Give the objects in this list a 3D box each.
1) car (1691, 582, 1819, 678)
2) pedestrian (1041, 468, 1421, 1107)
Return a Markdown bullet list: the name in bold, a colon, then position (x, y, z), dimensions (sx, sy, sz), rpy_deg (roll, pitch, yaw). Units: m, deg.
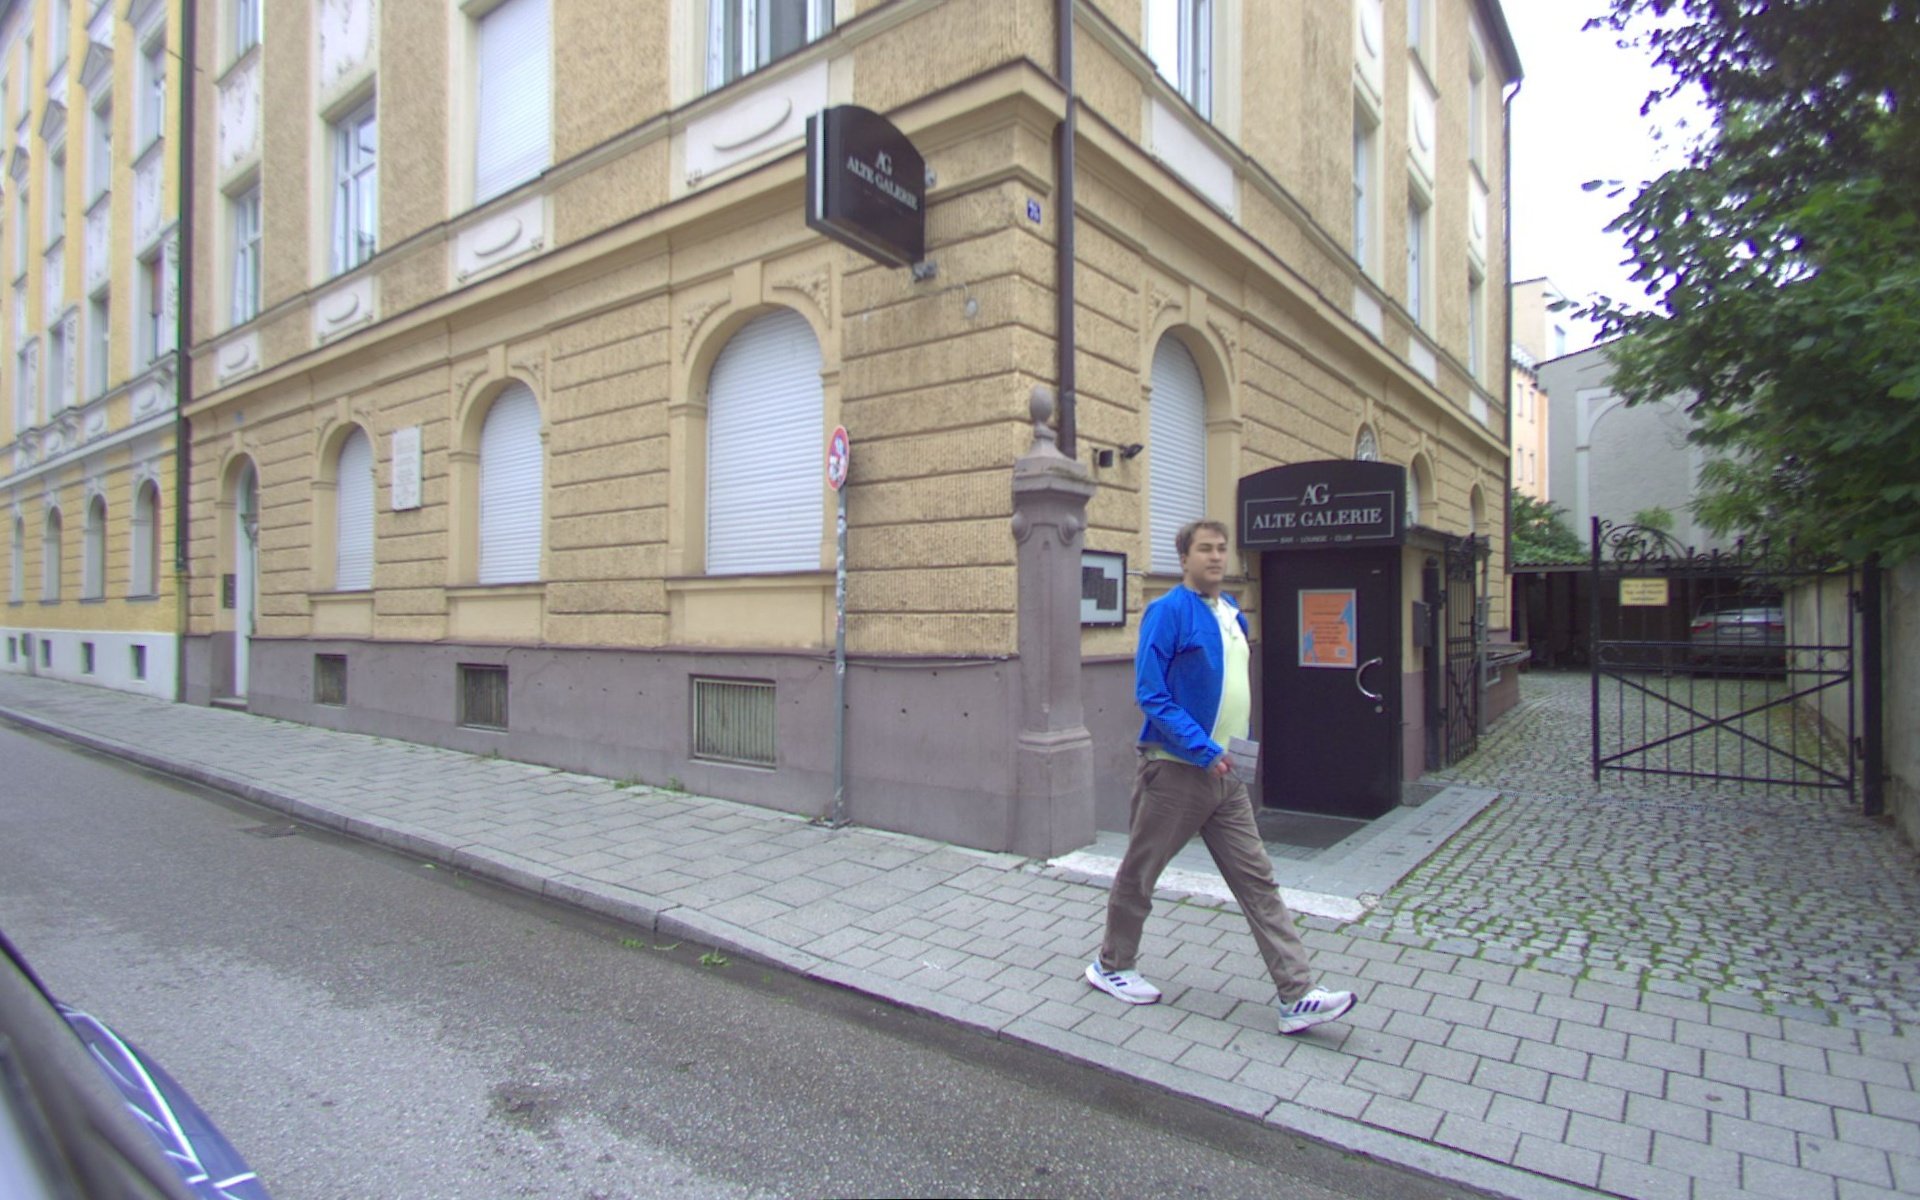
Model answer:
- **car**: position (15.245, 0.506, 19.333), dimensions (1.634, 1.552, 3.680), rpy_deg (-1, 2, 43)
- **pedestrian**: position (0.953, 0.549, 3.587), dimensions (1.075, 1.868, 0.750), rpy_deg (-1, 0, 38)
